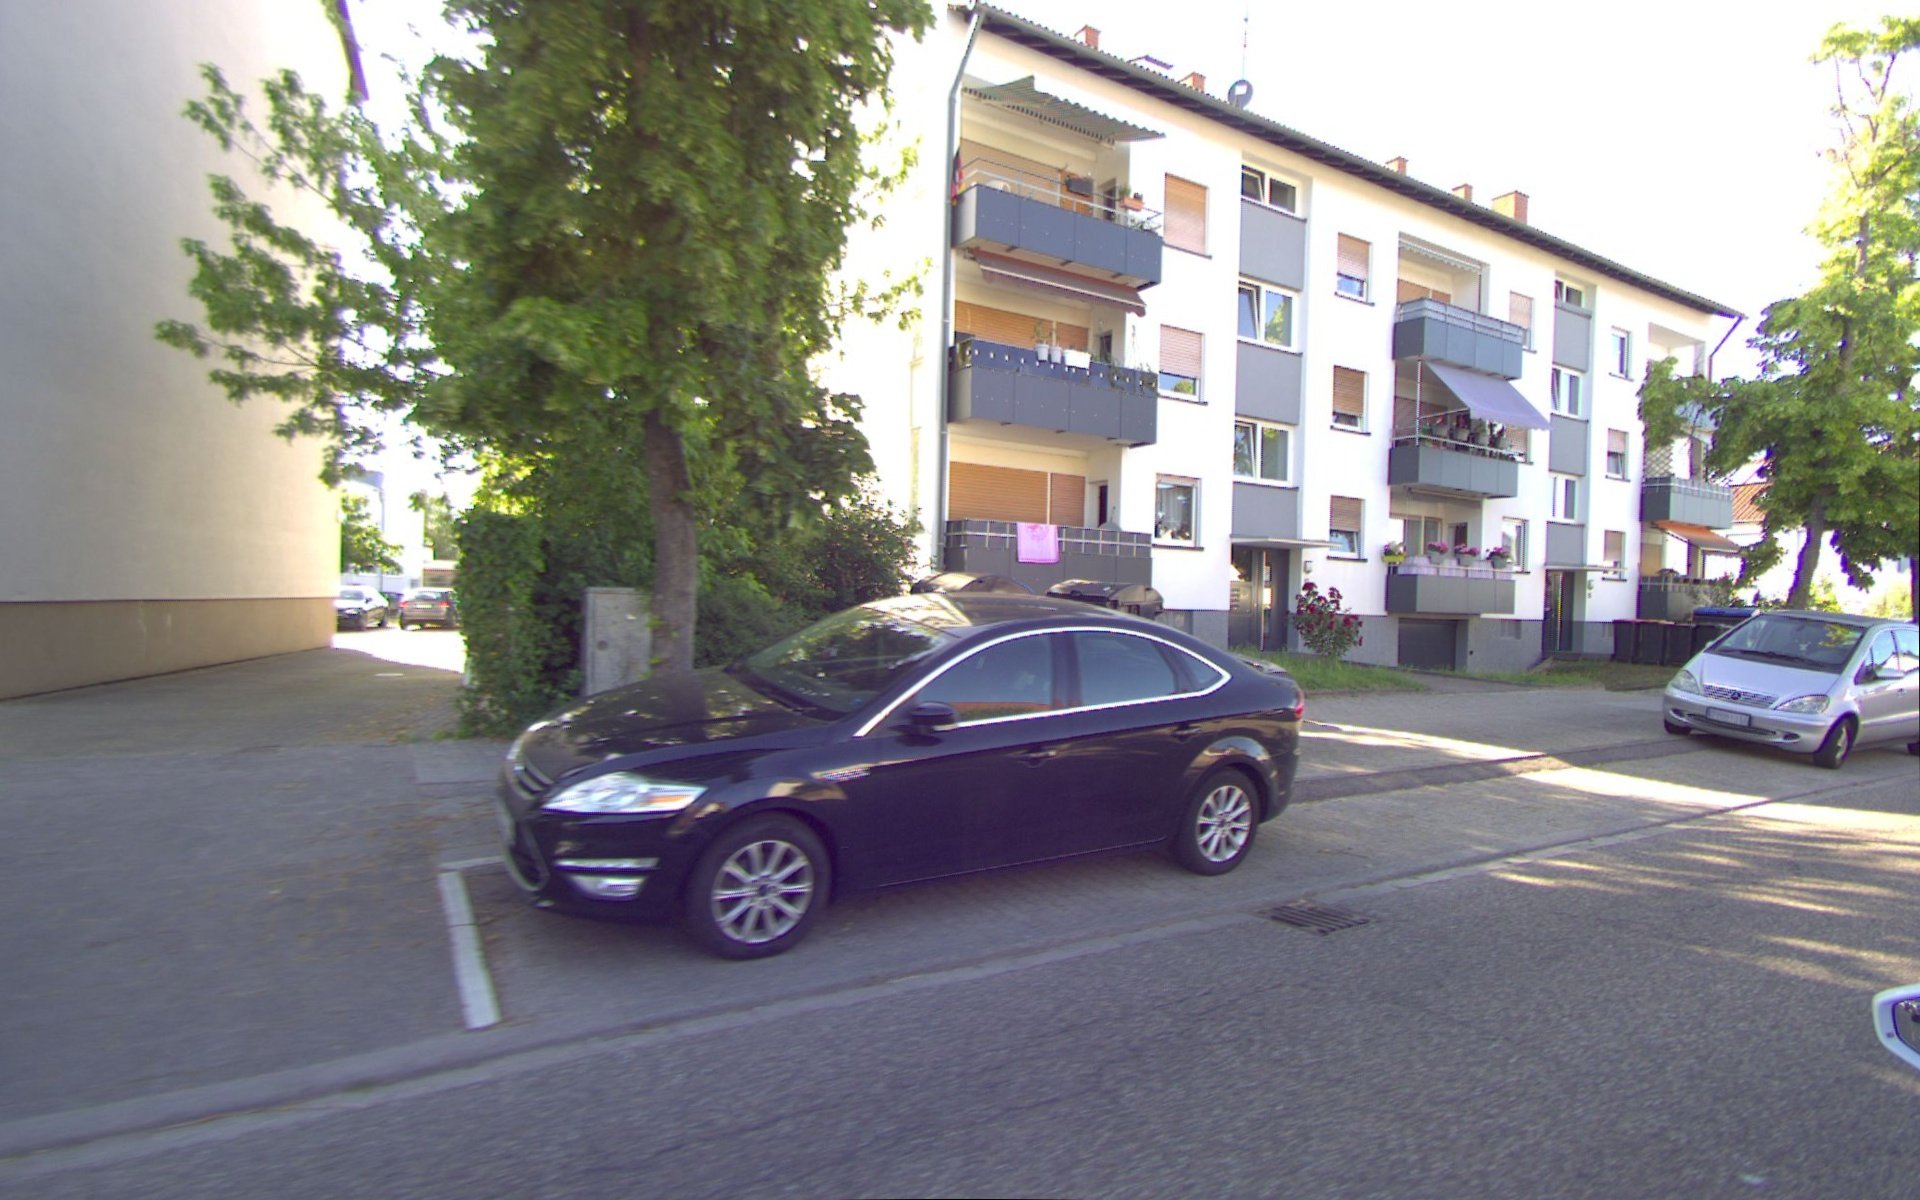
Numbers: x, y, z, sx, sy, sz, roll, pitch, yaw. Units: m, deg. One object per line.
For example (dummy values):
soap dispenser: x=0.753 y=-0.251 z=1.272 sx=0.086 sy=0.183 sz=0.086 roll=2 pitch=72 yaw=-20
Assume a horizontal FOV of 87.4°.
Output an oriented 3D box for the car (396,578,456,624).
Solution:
car: x=-19.014 y=0.026 z=35.882 sx=1.646 sy=1.519 sz=3.494 roll=2 pitch=0 yaw=-25

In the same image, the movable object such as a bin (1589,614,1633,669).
movable object such as a bin: x=15.966 y=1.017 z=24.641 sx=0.663 sy=1.296 sz=0.636 roll=2 pitch=1 yaw=-29

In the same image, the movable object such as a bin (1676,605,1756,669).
movable object such as a bin: x=18.840 y=0.913 z=25.048 sx=1.102 sy=1.502 sz=1.226 roll=2 pitch=1 yaw=-29

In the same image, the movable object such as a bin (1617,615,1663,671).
movable object such as a bin: x=16.278 y=1.019 z=24.048 sx=0.663 sy=1.296 sz=0.636 roll=2 pitch=1 yaw=-29

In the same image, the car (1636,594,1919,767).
car: x=10.147 y=0.899 z=12.042 sx=3.862 sy=1.614 sz=1.713 roll=2 pitch=5 yaw=-30

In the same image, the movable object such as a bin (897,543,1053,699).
movable object such as a bin: x=0.152 y=0.233 z=11.740 sx=1.252 sy=1.685 sz=1.406 roll=2 pitch=1 yaw=-29

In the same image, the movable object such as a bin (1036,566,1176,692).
movable object such as a bin: x=1.924 y=0.360 z=13.356 sx=1.311 sy=1.564 sz=1.284 roll=2 pitch=0 yaw=-30

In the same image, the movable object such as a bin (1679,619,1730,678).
movable object such as a bin: x=16.948 y=1.094 z=22.867 sx=0.663 sy=1.296 sz=0.684 roll=2 pitch=1 yaw=-29

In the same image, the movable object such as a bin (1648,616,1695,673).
movable object such as a bin: x=16.613 y=1.033 z=23.466 sx=0.663 sy=1.296 sz=0.636 roll=2 pitch=1 yaw=-29

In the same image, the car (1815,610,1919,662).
car: x=30.822 y=1.210 z=32.678 sx=4.299 sy=1.534 sz=1.615 roll=2 pitch=1 yaw=9

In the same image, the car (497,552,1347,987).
car: x=-0.023 y=0.667 z=5.678 sx=4.495 sy=1.514 sz=1.711 roll=2 pitch=6 yaw=-33

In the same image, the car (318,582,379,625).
car: x=-20.880 y=0.107 z=34.392 sx=1.391 sy=1.388 sz=3.308 roll=1 pitch=0 yaw=-25
